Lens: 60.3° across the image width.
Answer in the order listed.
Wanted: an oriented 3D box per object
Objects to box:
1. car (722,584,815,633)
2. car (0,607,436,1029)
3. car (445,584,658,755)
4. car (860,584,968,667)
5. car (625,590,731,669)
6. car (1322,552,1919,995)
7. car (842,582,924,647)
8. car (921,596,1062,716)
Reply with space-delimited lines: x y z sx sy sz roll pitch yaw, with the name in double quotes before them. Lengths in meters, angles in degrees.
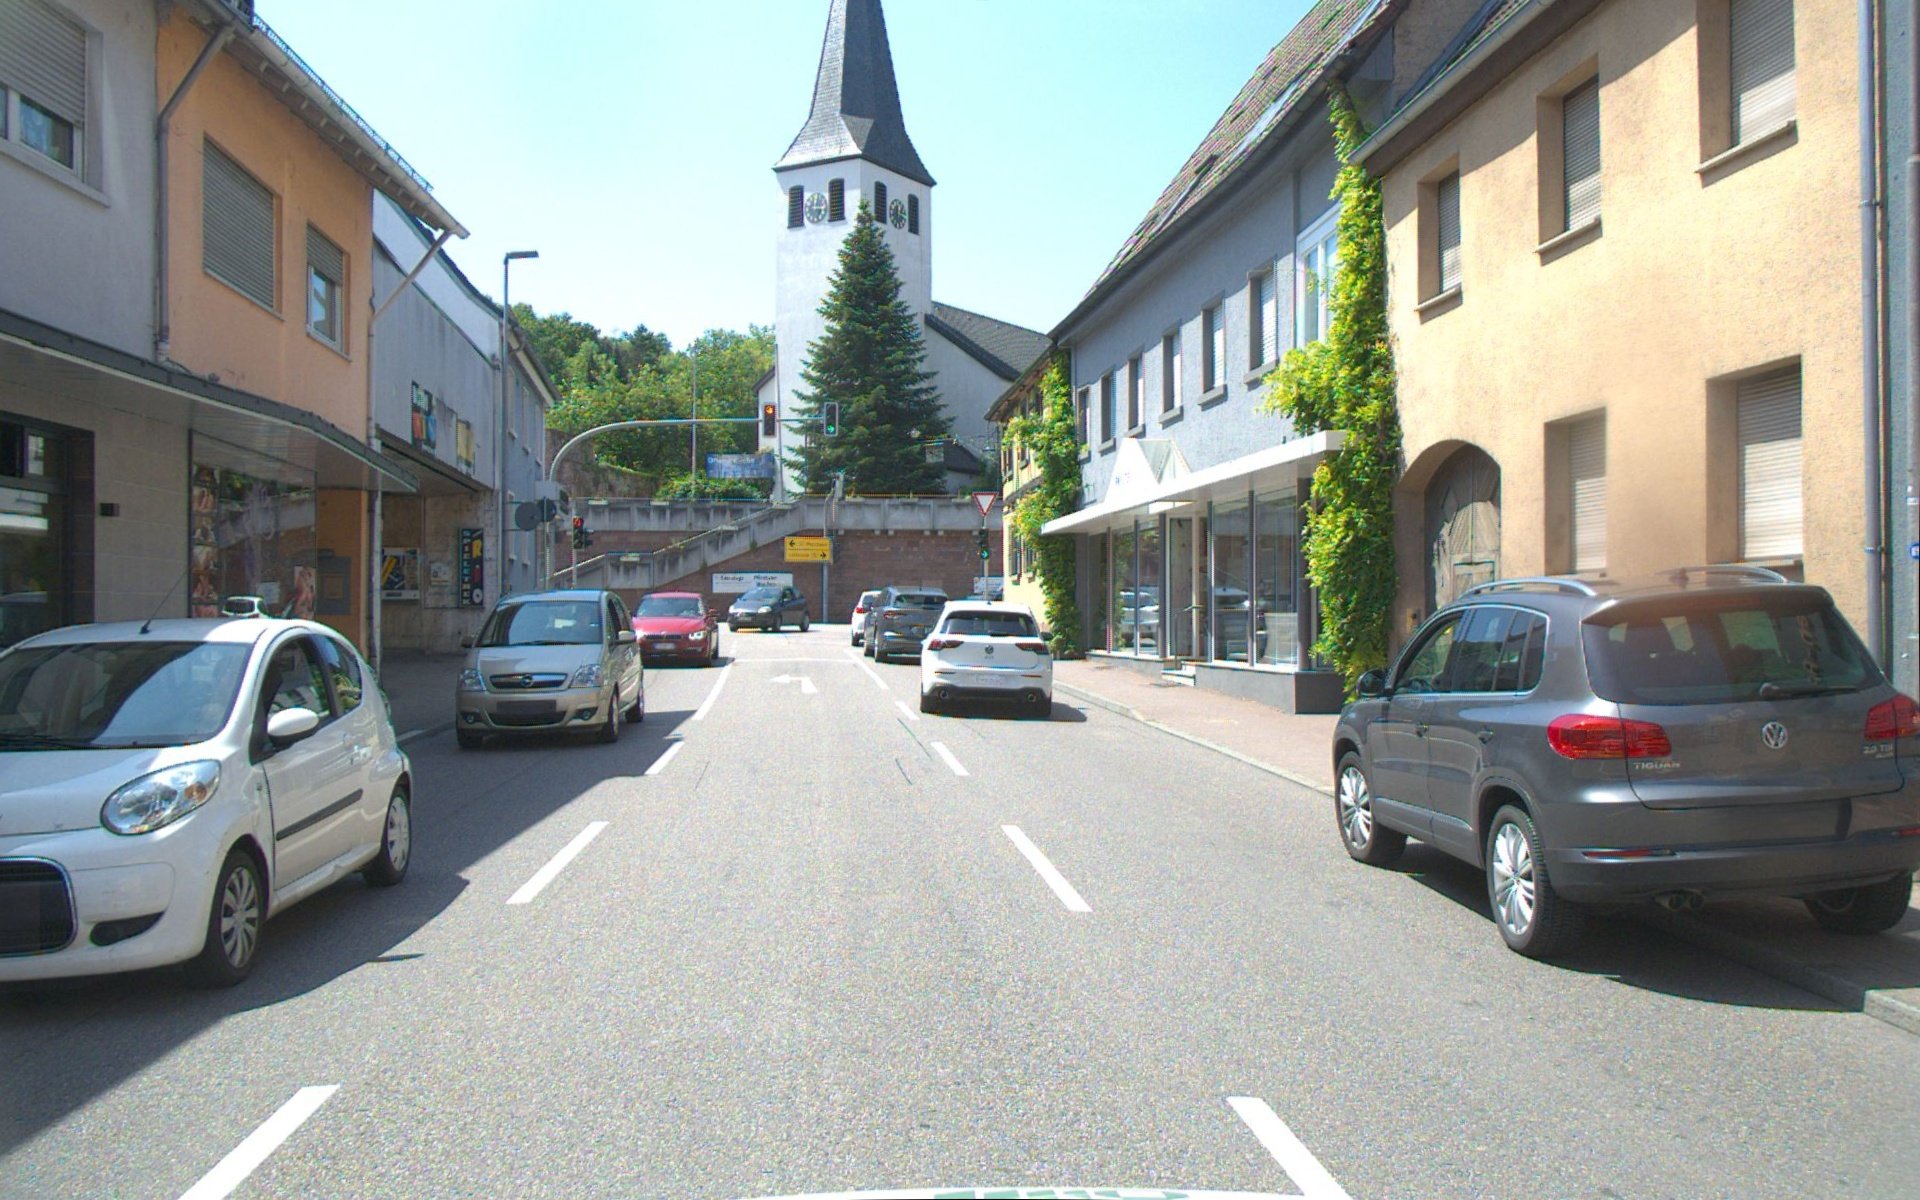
"car" -6.210 0.254 54.043 1.681 1.447 3.823 -1 1 15
"car" -3.684 0.806 7.642 1.565 1.480 3.445 -2 0 -4
"car" -4.464 0.678 18.588 1.646 1.645 3.818 -2 1 -4
"car" -1.080 0.507 36.436 1.912 1.610 4.319 1 2 -8
"car" -5.774 0.555 34.277 1.683 1.433 4.282 -2 1 -4
"car" 3.442 0.691 8.764 1.954 1.738 4.099 -2 0 -2
"car" -2.190 0.370 45.946 1.912 1.610 4.319 1 2 -8
"car" 0.351 0.704 22.638 1.746 1.484 3.862 0 0 -2
